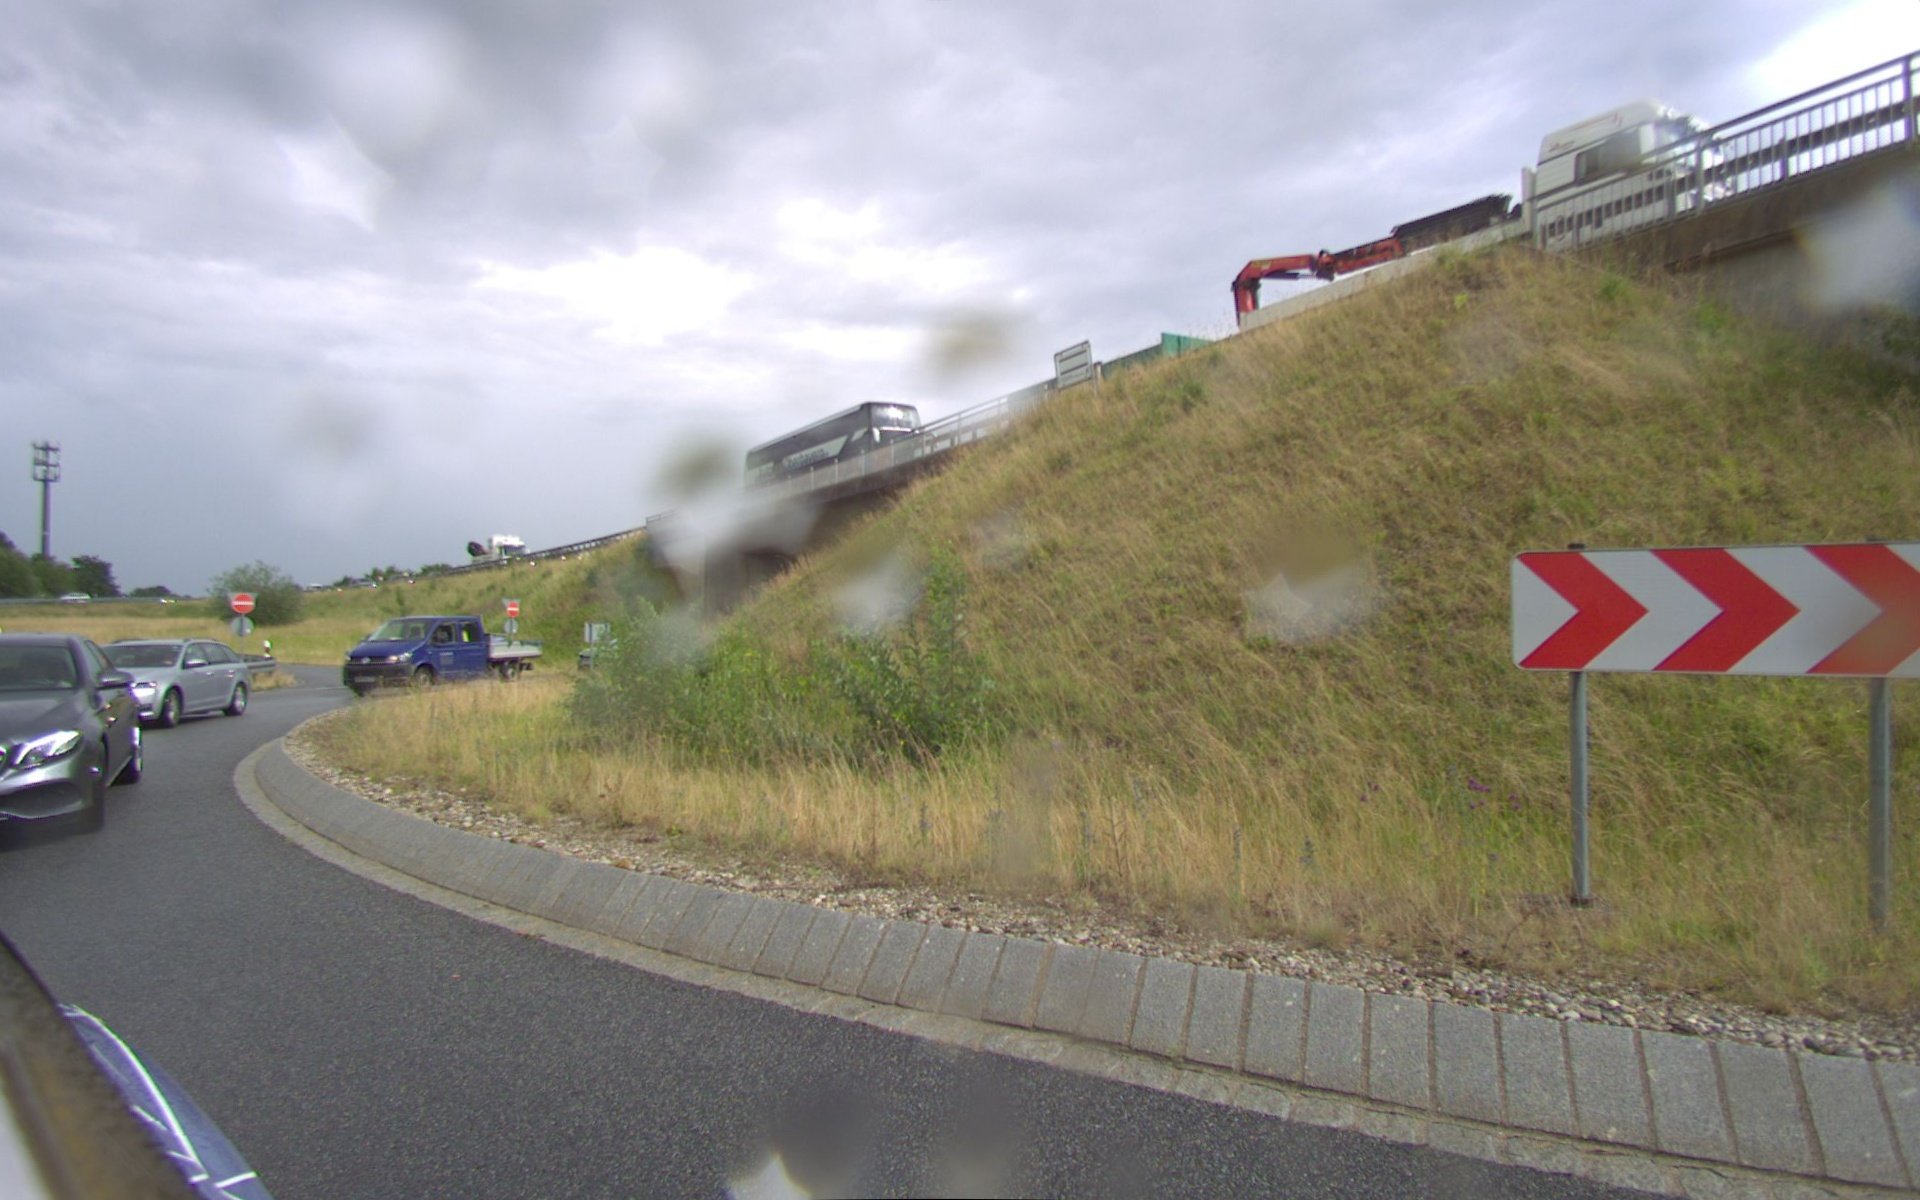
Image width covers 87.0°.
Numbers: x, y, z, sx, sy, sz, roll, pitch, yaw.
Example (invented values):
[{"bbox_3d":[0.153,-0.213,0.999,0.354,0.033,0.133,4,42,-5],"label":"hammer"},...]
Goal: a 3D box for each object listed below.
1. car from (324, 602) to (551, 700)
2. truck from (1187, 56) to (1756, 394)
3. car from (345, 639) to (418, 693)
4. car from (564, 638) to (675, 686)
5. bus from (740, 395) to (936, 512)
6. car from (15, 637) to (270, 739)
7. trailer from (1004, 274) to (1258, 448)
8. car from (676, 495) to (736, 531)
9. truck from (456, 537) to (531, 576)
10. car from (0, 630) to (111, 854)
[{"bbox_3d":[-13.266,1.201,26.240,1.875,1.929,5.658,-3,2,14],"label":"car"},{"bbox_3d":[9.330,-6.820,20.739,2.169,2.895,10.857,-1,-1,-31],"label":"truck"},{"bbox_3d":[-17.175,1.900,30.016,1.744,1.496,3.845,1,-3,-31],"label":"car"},{"bbox_3d":[-11.501,2.059,34.435,1.560,1.548,3.904,-1,-2,18],"label":"car"},{"bbox_3d":[-6.023,-6.255,45.769,2.569,3.103,14.503,-1,-1,-33],"label":"bus"},{"bbox_3d":[-13.368,1.379,16.915,1.768,1.409,4.361,-1,-3,-16],"label":"car"},{"bbox_3d":[4.492,-6.447,28.813,2.150,2.893,8.356,-1,-1,-31],"label":"trailer"},{"bbox_3d":[-15.137,-5.125,60.174,1.688,1.536,4.504,-12,6,-36],"label":"car"},{"bbox_3d":[-45.119,-4.089,97.651,9.276,3.218,3.117,-2,-1,42],"label":"truck"},{"bbox_3d":[-7.826,1.004,7.891,1.743,1.402,4.599,0,-3,-39],"label":"car"}]
